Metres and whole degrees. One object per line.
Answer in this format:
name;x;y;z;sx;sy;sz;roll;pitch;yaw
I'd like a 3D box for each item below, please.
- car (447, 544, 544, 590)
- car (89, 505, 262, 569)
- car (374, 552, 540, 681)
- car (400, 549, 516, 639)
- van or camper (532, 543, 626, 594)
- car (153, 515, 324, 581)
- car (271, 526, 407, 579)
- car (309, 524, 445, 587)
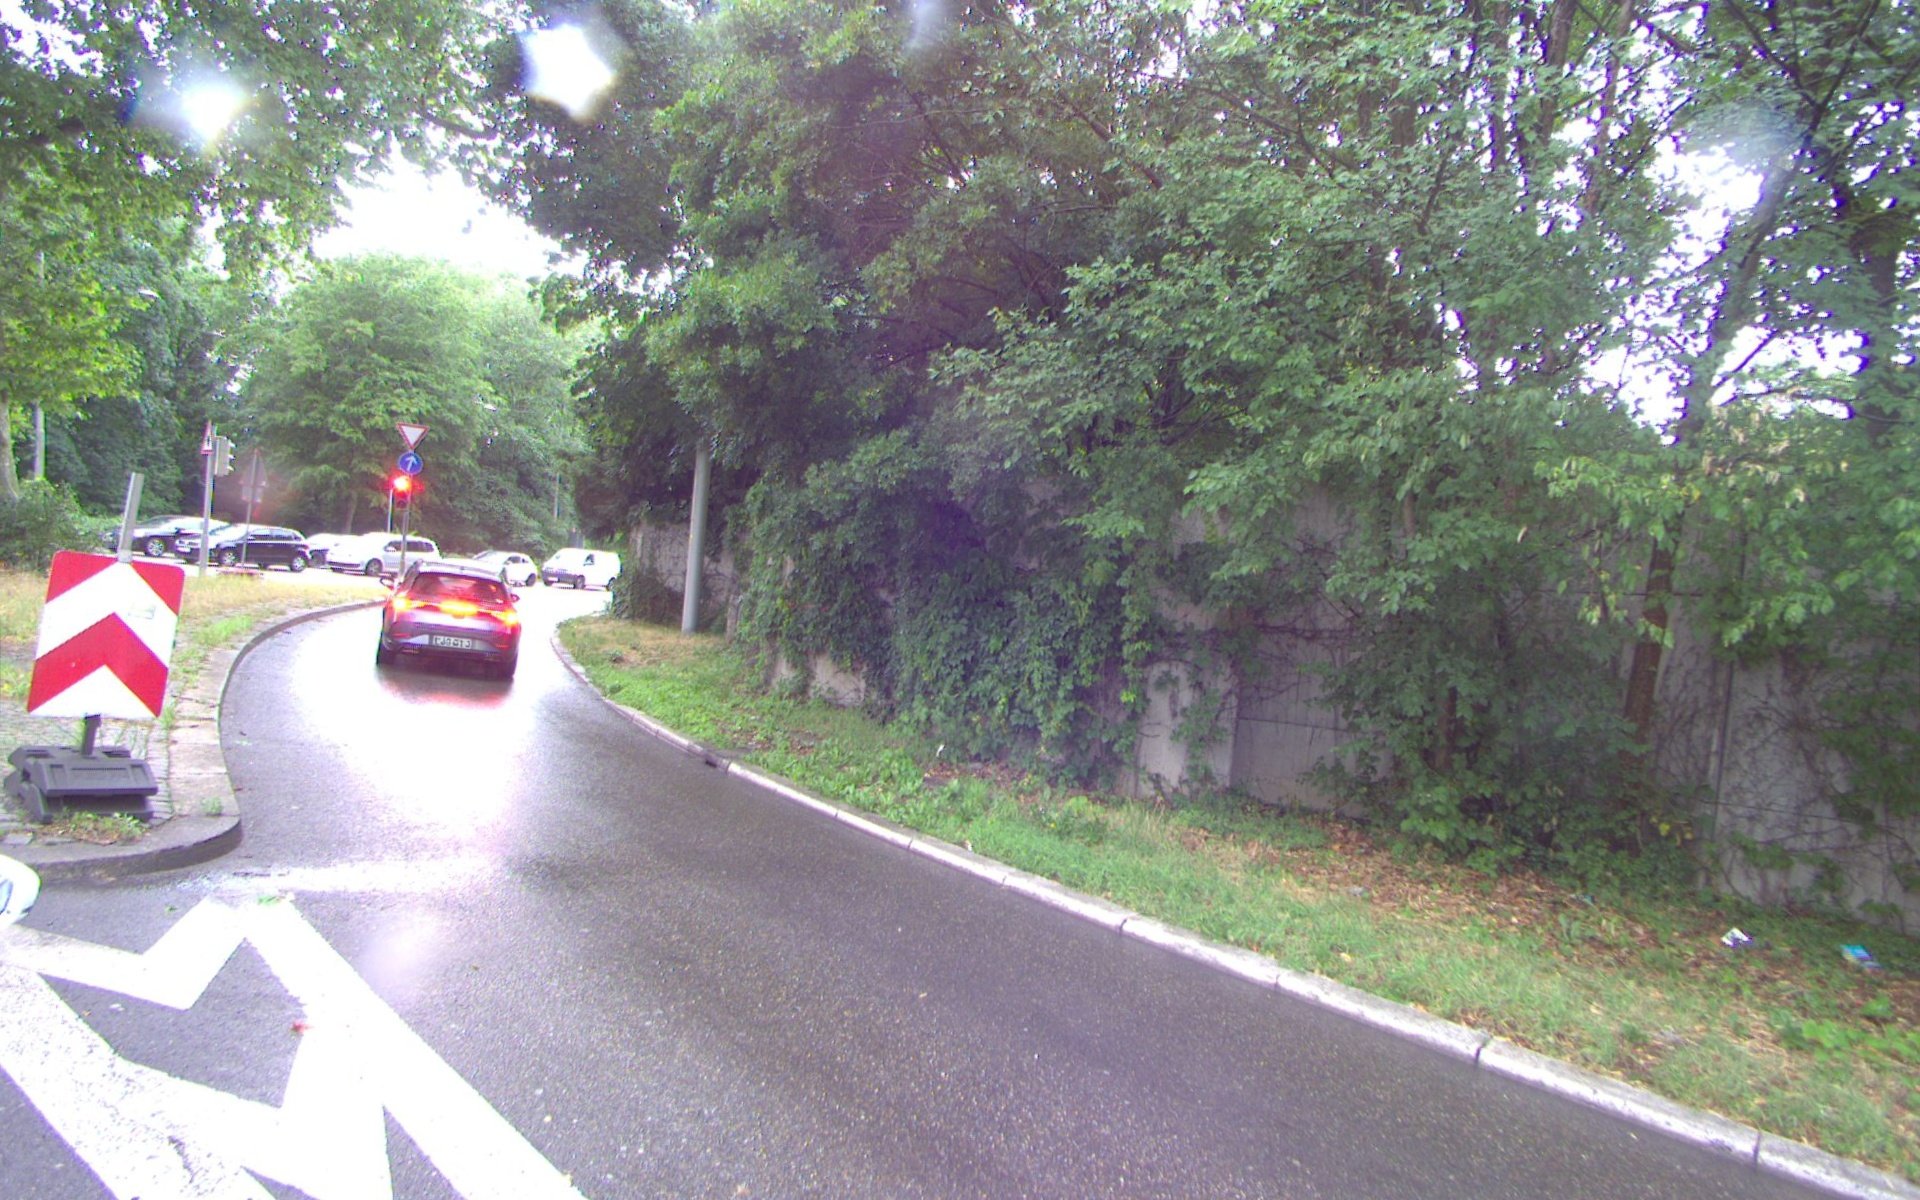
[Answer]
car;-20.549;-1.412;44.692;1.627;1.478;3.869;7;-2;16
car;-26.656;-2.098;34.367;1.913;1.457;4.218;7;-2;16
car;-7.535;0.149;14.838;1.737;1.418;4.380;10;-3;-30
car;-10.812;-0.163;21.945;1.837;1.464;4.593;11;-3;-24
van or camper;-19.120;-1.544;50.742;1.870;1.970;4.870;7;-1;13
car;-23.327;-1.636;32.734;1.759;1.477;4.205;7;-2;16
car;-24.735;-1.858;40.273;1.795;1.418;4.452;7;-2;16
car;-22.090;-1.642;38.323;1.871;1.699;4.216;7;-2;16
